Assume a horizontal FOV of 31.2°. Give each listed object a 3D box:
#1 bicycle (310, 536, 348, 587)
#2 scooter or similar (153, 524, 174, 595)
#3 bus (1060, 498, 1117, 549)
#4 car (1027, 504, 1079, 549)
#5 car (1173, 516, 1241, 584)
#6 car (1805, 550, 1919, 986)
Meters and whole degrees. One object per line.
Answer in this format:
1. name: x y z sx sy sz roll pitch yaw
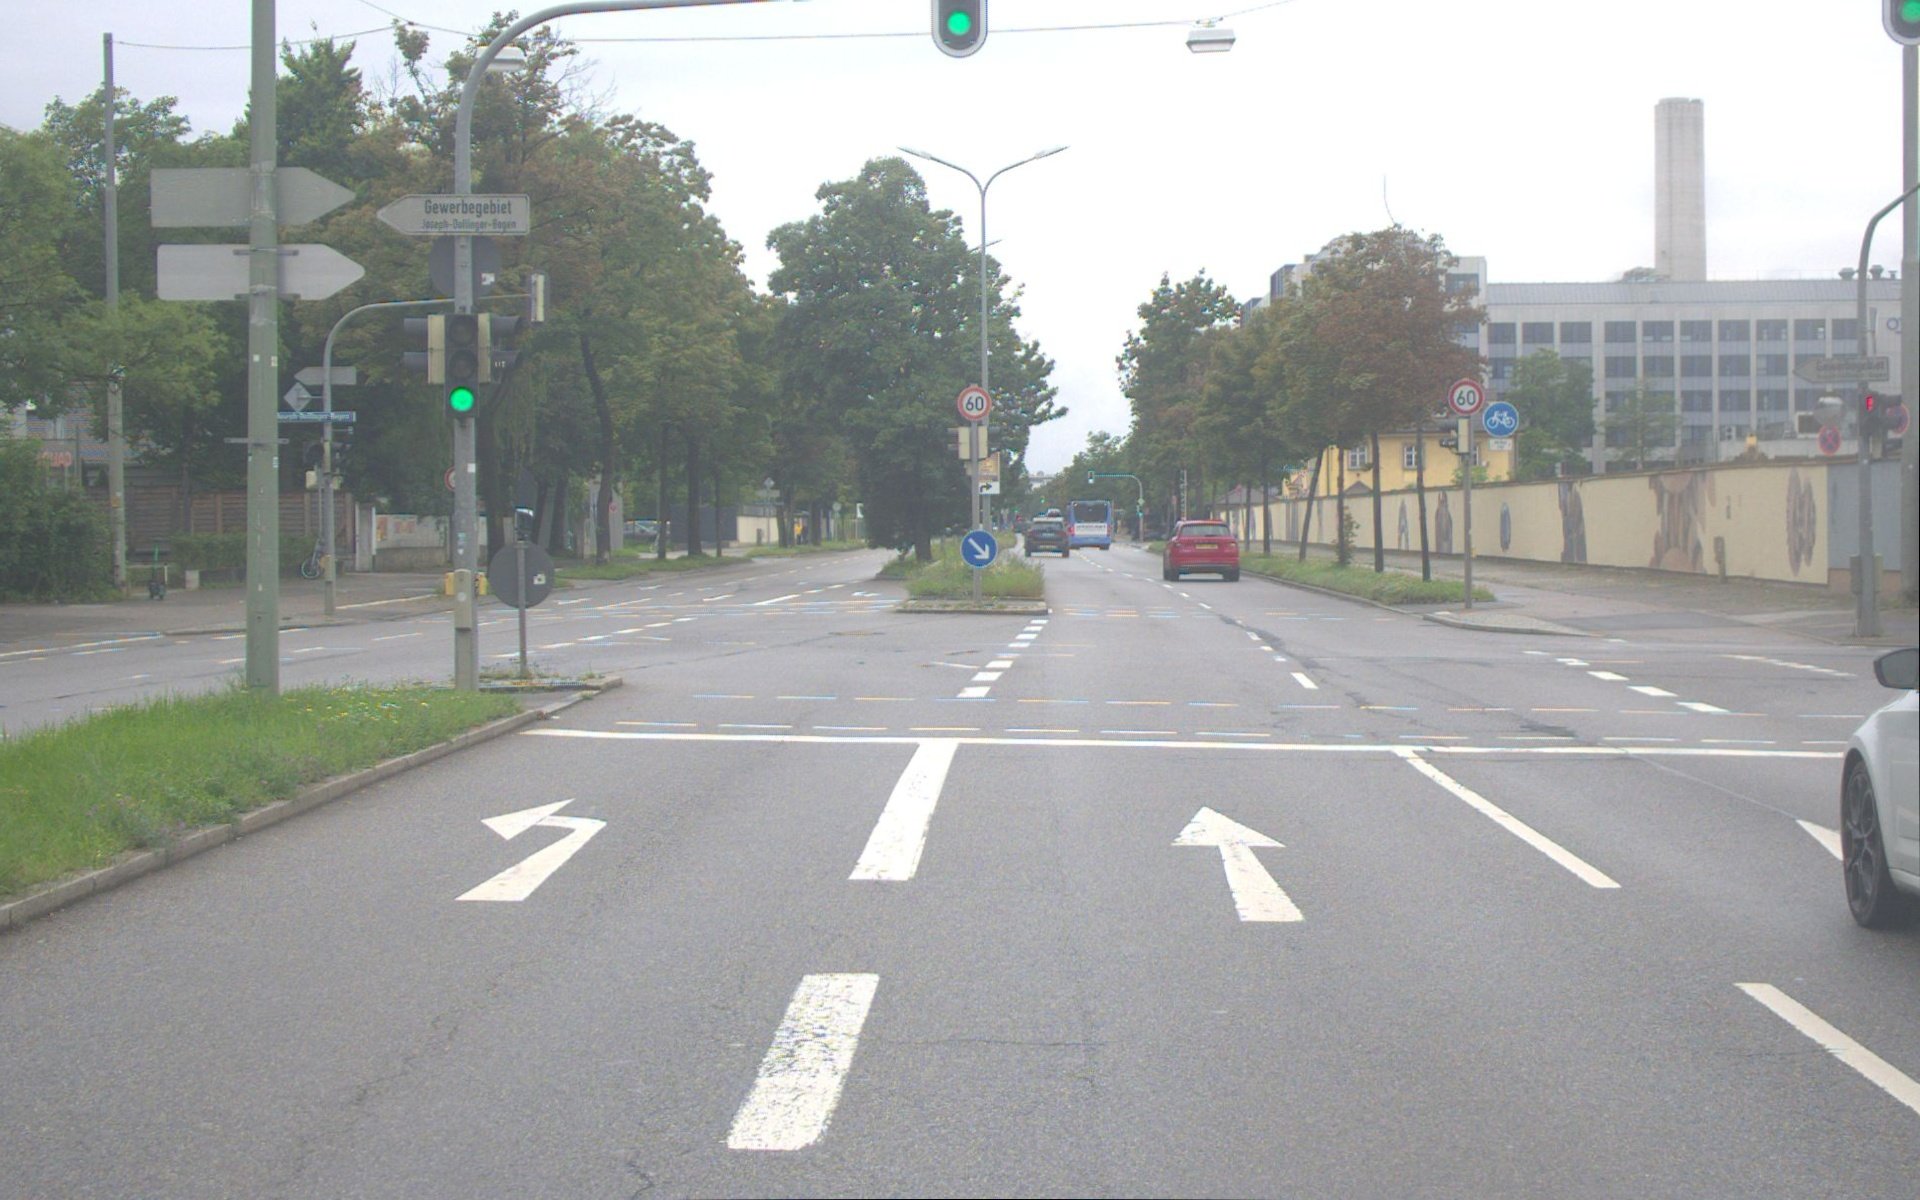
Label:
1. bicycle: -16.374 -1.014 89.273 0.582 1.291 2.455 1 1 -1
2. scooter or similar: -16.208 -0.837 69.929 0.370 1.419 1.406 1 1 -14
3. bus: 8.139 -4.884 219.462 3.220 3.116 10.346 1 1 0
4. car: 3.953 -3.121 146.656 2.084 1.859 4.386 1 1 0
5. car: 6.411 -1.318 89.388 1.484 1.710 3.551 1 1 0
6. car: 4.177 0.593 11.136 1.878 1.463 4.502 1 1 2
